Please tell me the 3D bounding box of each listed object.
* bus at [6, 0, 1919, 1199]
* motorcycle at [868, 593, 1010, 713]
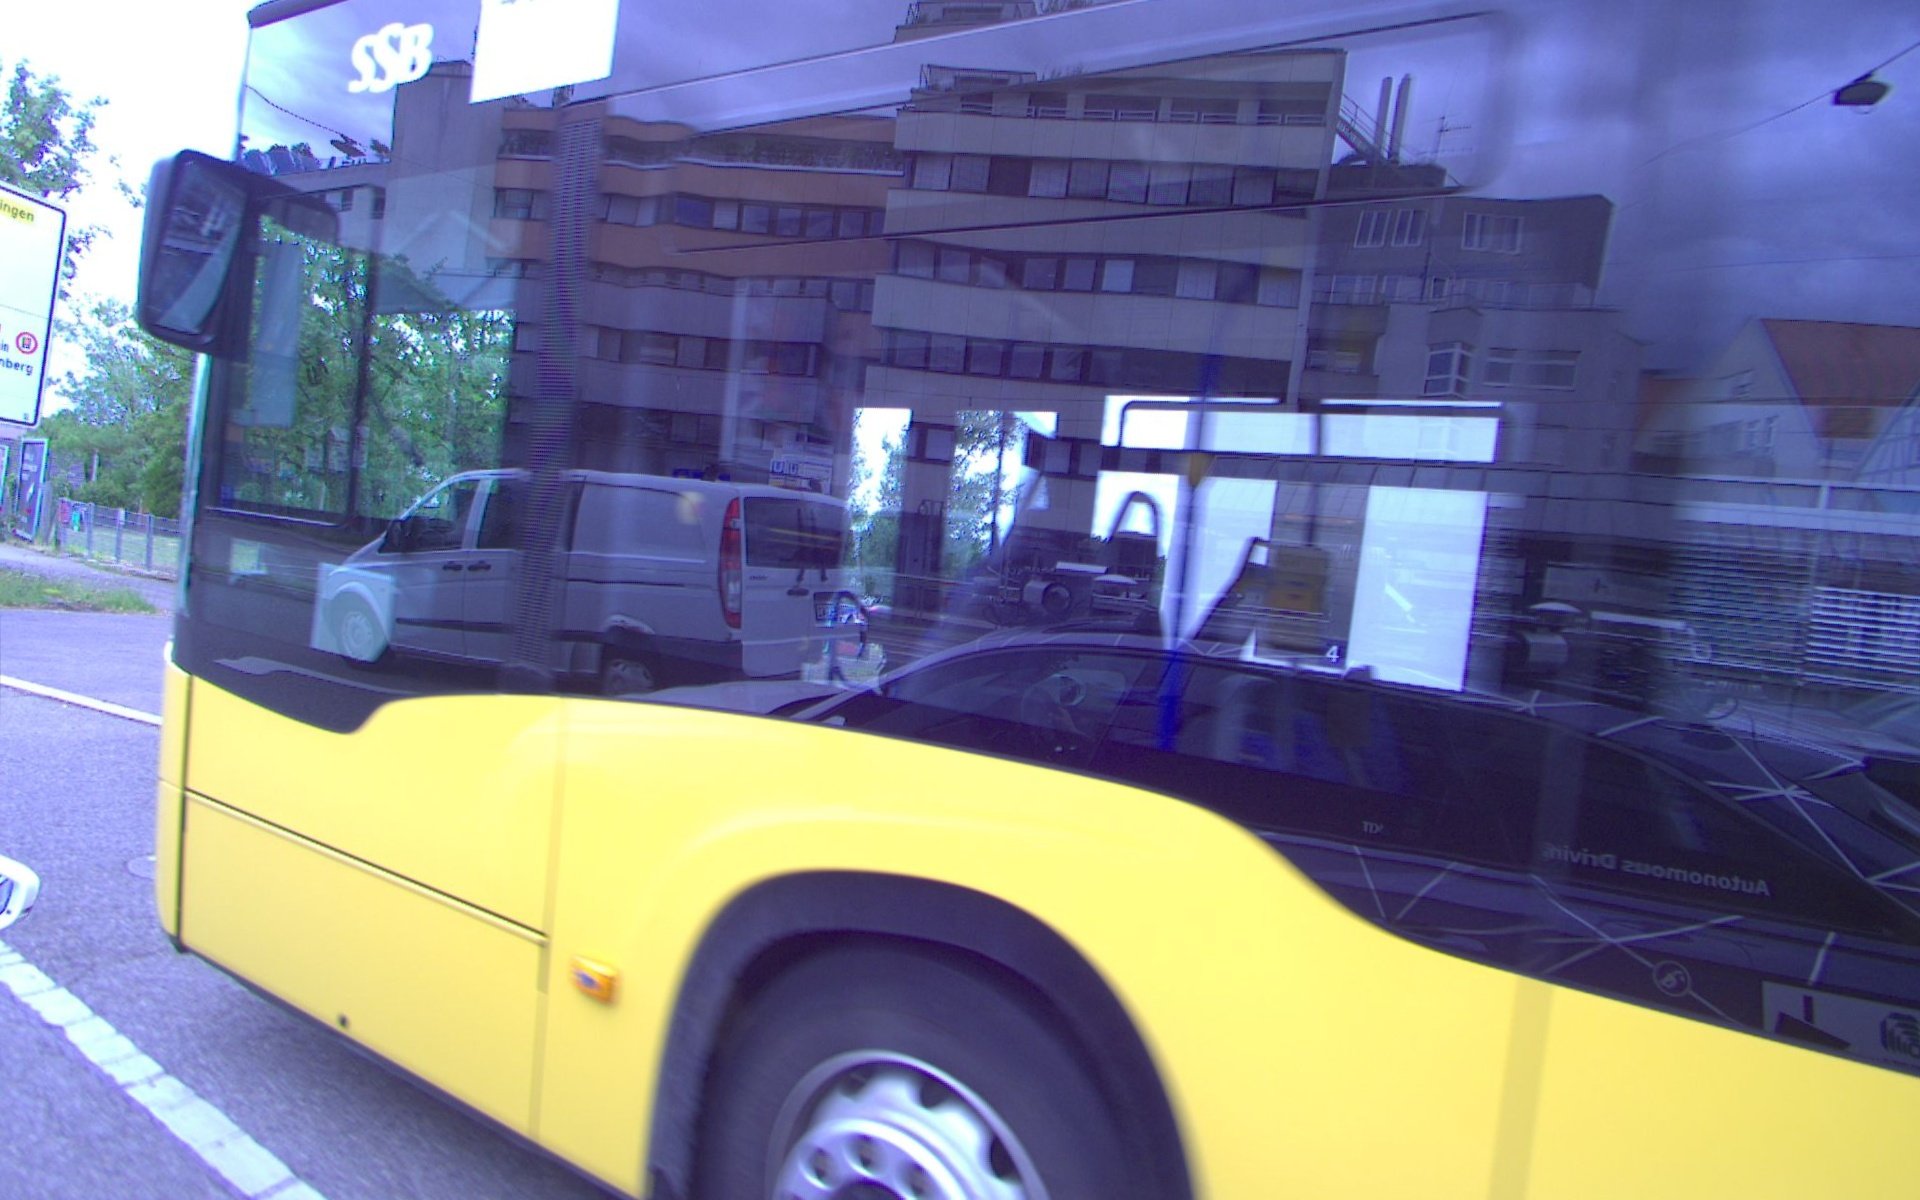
[{"bbox_3d":[2.018,0.119,1.872,8.969,3.205,2.716,7,2,28],"label":"bus"},{"bbox_3d":[-0.251,0.628,12.143,1.553,1.237,0.584,7,0,-2],"label":"motorcycle"}]
